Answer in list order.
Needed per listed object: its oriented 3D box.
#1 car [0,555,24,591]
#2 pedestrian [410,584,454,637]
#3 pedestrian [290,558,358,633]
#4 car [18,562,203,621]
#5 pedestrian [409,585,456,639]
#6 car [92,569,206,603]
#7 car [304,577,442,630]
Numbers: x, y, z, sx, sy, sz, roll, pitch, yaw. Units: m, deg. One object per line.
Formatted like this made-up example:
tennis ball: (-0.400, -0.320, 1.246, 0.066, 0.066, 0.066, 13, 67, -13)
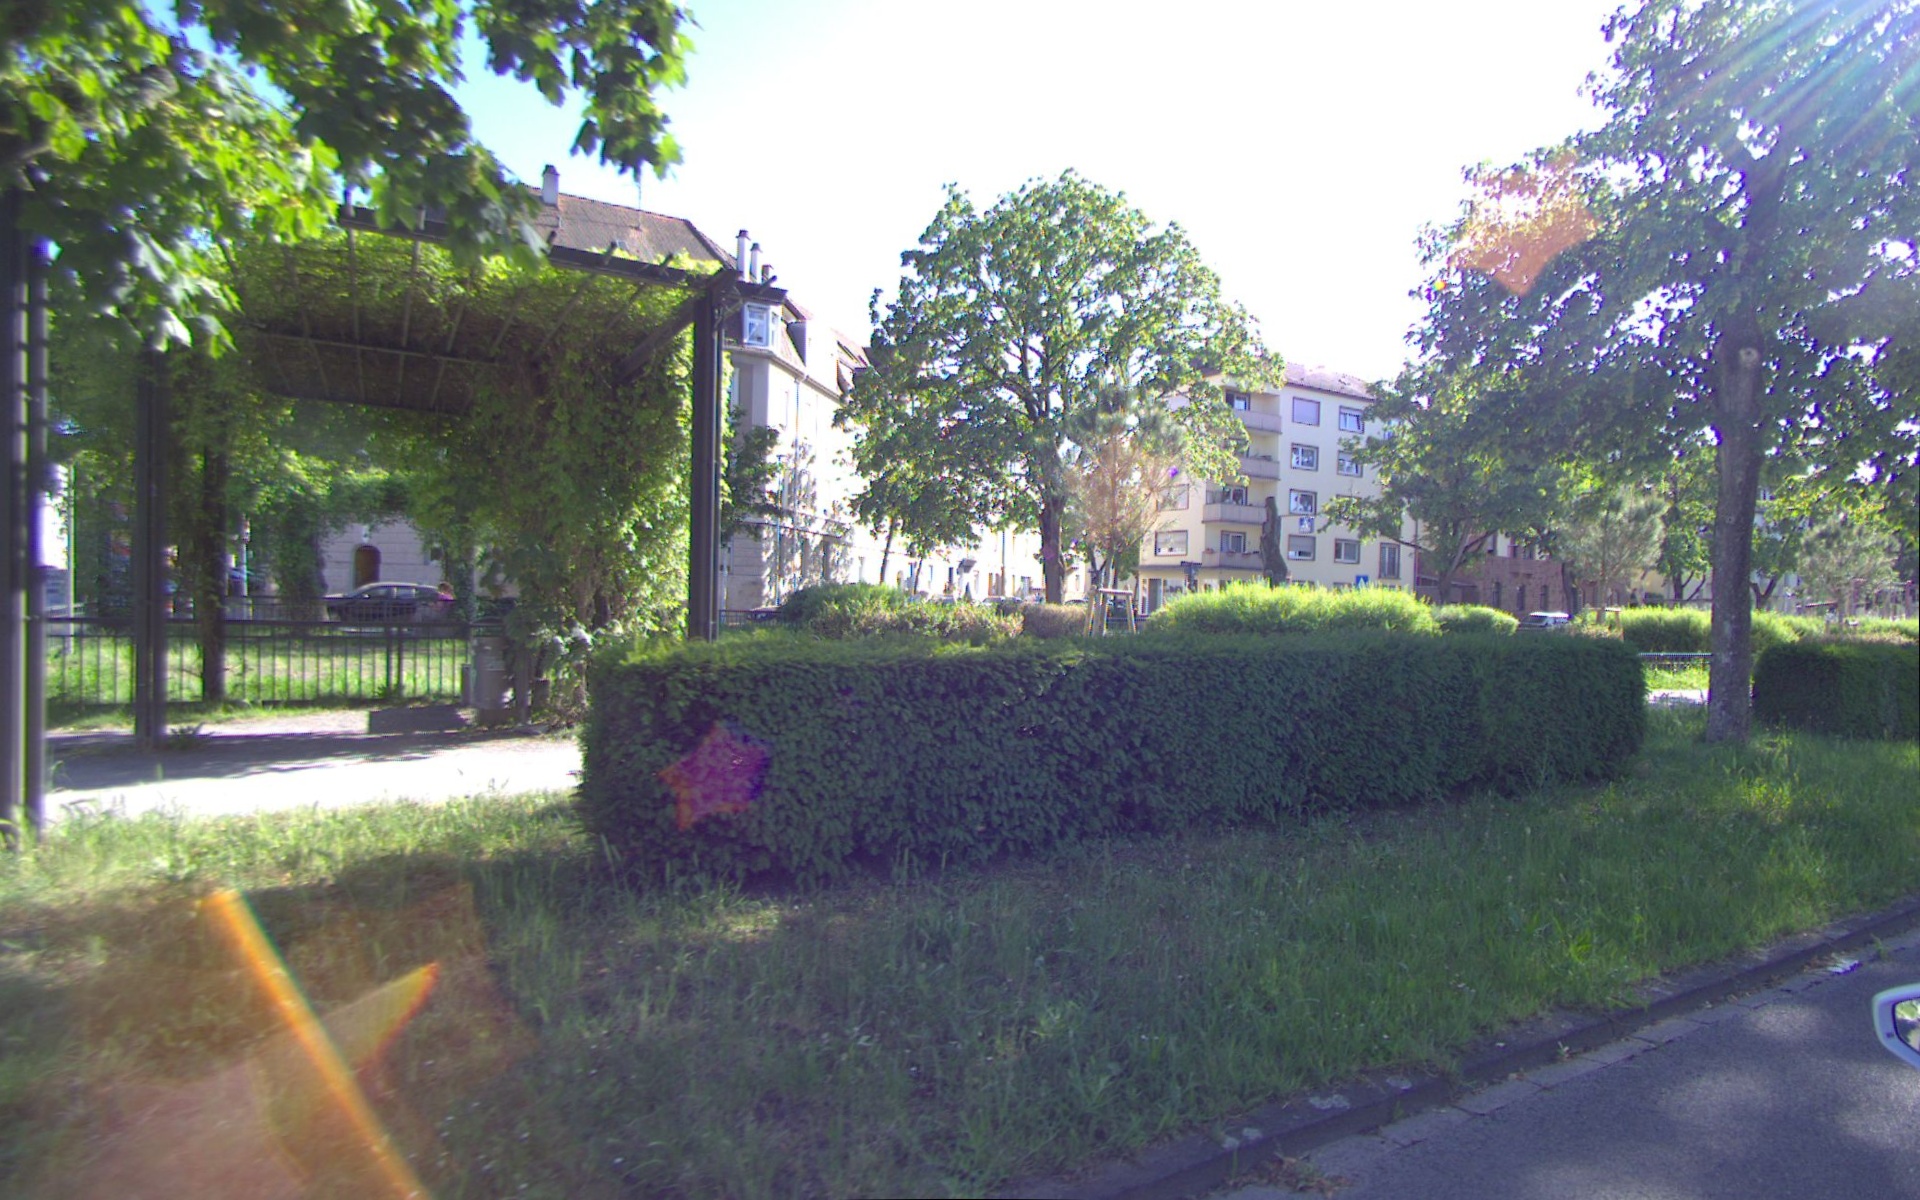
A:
car: (-54.302, -1.571, 56.150, 1.864, 1.896, 4.365, 5, -1, -30)
pedestrian: (-11.908, 0.244, 22.658, 0.836, 1.165, 0.594, 2, 0, -30)
pedestrian: (-15.016, -0.125, 23.735, 0.900, 1.697, 1.085, 2, 4, 40)
car: (-25.016, -0.237, 29.796, 3.974, 1.503, 1.850, 2, 3, -34)
pedestrian: (-11.586, 0.255, 22.064, 0.865, 1.154, 0.594, 2, 0, -30)
car: (-35.543, -0.607, 44.157, 3.752, 1.464, 1.676, 0, 1, -34)
car: (-19.503, 0.124, 33.401, 3.864, 1.503, 1.850, 2, 3, -34)
